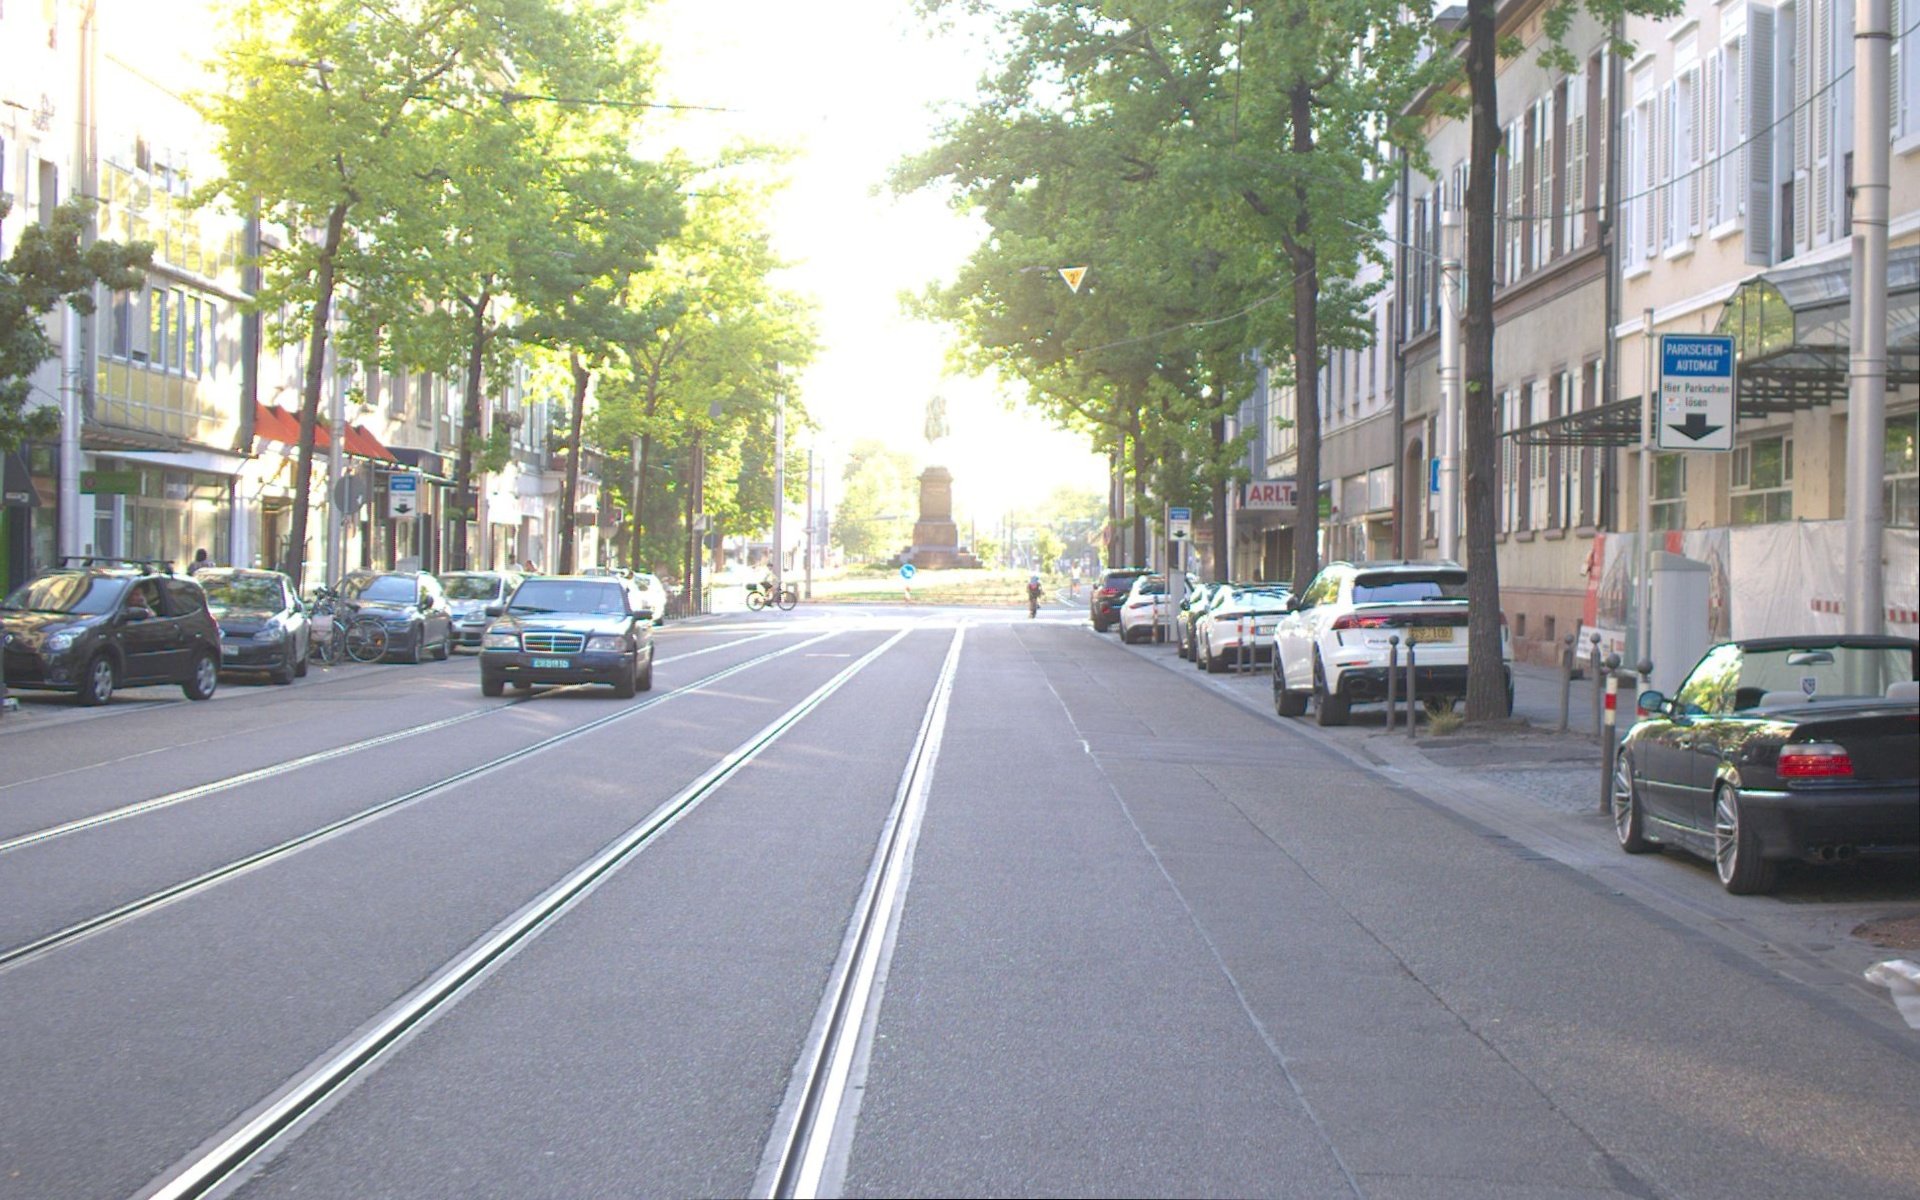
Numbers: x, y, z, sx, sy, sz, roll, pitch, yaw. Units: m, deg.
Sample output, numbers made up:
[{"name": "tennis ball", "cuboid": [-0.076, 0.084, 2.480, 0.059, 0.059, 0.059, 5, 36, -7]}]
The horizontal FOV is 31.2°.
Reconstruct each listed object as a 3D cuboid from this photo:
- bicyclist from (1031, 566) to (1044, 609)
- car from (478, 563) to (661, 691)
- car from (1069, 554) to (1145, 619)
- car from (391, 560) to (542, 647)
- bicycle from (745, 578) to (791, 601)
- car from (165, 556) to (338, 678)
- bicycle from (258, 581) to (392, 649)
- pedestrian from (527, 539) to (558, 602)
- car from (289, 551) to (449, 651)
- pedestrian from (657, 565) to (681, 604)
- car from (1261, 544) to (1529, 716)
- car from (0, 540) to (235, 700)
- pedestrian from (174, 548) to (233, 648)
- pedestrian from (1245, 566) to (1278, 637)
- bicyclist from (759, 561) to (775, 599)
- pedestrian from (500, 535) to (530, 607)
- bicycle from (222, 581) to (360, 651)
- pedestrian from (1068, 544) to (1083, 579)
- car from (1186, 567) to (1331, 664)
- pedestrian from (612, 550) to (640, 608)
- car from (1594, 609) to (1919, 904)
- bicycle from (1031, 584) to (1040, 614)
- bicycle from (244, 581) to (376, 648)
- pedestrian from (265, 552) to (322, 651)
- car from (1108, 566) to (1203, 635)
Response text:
[{"name": "bicyclist", "cuboid": [2.630, -0.424, 116.893, 0.428, 1.476, 0.466, 1, 1, 1]}, {"name": "car", "cuboid": [-4.540, 0.276, 40.497, 1.779, 1.402, 4.528, 1, 1, -2]}, {"name": "car", "cuboid": [4.204, -0.401, 98.972, 1.938, 1.753, 4.680, -3, 1, 0]}, {"name": "car", "cuboid": [-8.901, 0.054, 62.281, 1.767, 1.492, 4.174, 1, 0, 5]}, {"name": "bicycle", "cuboid": [-7.289, -0.407, 130.636, 1.731, 0.861, 0.367, 1, 0, 3]}, {"name": "car", "cuboid": [-9.434, 0.195, 46.048, 1.791, 1.485, 4.243, 2, 0, -6]}, {"name": "bicycle", "cuboid": [-9.712, 0.231, 52.579, 1.971, 0.998, 0.330, 1, 0, 3]}, {"name": "pedestrian", "cuboid": [-11.751, -0.821, 96.828, 0.722, 1.754, 1.090, 1, 0, 0]}, {"name": "car", "cuboid": [-9.430, -0.007, 55.144, 1.711, 1.456, 4.486, 2, 1, 0]}, {"name": "pedestrian", "cuboid": [-9.832, -0.535, 116.035, 0.728, 1.286, 0.857, 2, 1, -2]}, {"name": "car", "cuboid": [4.588, 0.295, 37.040, 1.997, 1.682, 4.968, -1, 0, -3]}, {"name": "car", "cuboid": [-9.603, 0.190, 37.770, 1.631, 1.610, 3.706, 3, 1, 15]}, {"name": "pedestrian", "cuboid": [-12.952, -0.043, 58.874, 0.789, 1.687, 0.914, 1, 1, 0]}, {"name": "pedestrian", "cuboid": [7.190, 0.026, 81.952, 0.643, 1.664, 0.786, -2, 1, 0]}, {"name": "bicyclist", "cuboid": [-7.323, -0.748, 130.312, 0.536, 1.433, 0.367, 1, 0, 3]}, {"name": "pedestrian", "cuboid": [-12.532, -0.829, 96.843, 0.722, 2.007, 0.643, 1, 0, 0]}, {"name": "bicycle", "cuboid": [-9.901, 0.230, 50.888, 1.971, 0.998, 0.330, 1, 0, 3]}, {"name": "pedestrian", "cuboid": [5.350, -1.792, 159.252, 0.636, 1.600, 0.772, 1, 1, -2]}, {"name": "car", "cuboid": [4.743, 0.214, 55.252, 1.912, 1.416, 4.888, -2, 1, 1]}, {"name": "pedestrian", "cuboid": [-8.745, -0.535, 89.999, 0.620, 1.504, 0.729, 0, -1, 1]}, {"name": "car", "cuboid": [4.676, 0.743, 18.339, 1.794, 1.307, 4.329, -1, 0, 1]}, {"name": "bicycle", "cuboid": [2.576, -0.033, 116.911, 0.264, 0.979, 1.338, 1, 1, 0]}, {"name": "bicycle", "cuboid": [-10.011, 0.221, 52.969, 1.971, 0.998, 0.330, 1, 0, 3]}, {"name": "pedestrian", "cuboid": [-11.490, 0.024, 59.275, 0.844, 1.687, 0.740, 1, 0, 0]}, {"name": "car", "cuboid": [4.590, -0.007, 81.158, 1.993, 1.493, 4.679, -2, 1, 1]}]
